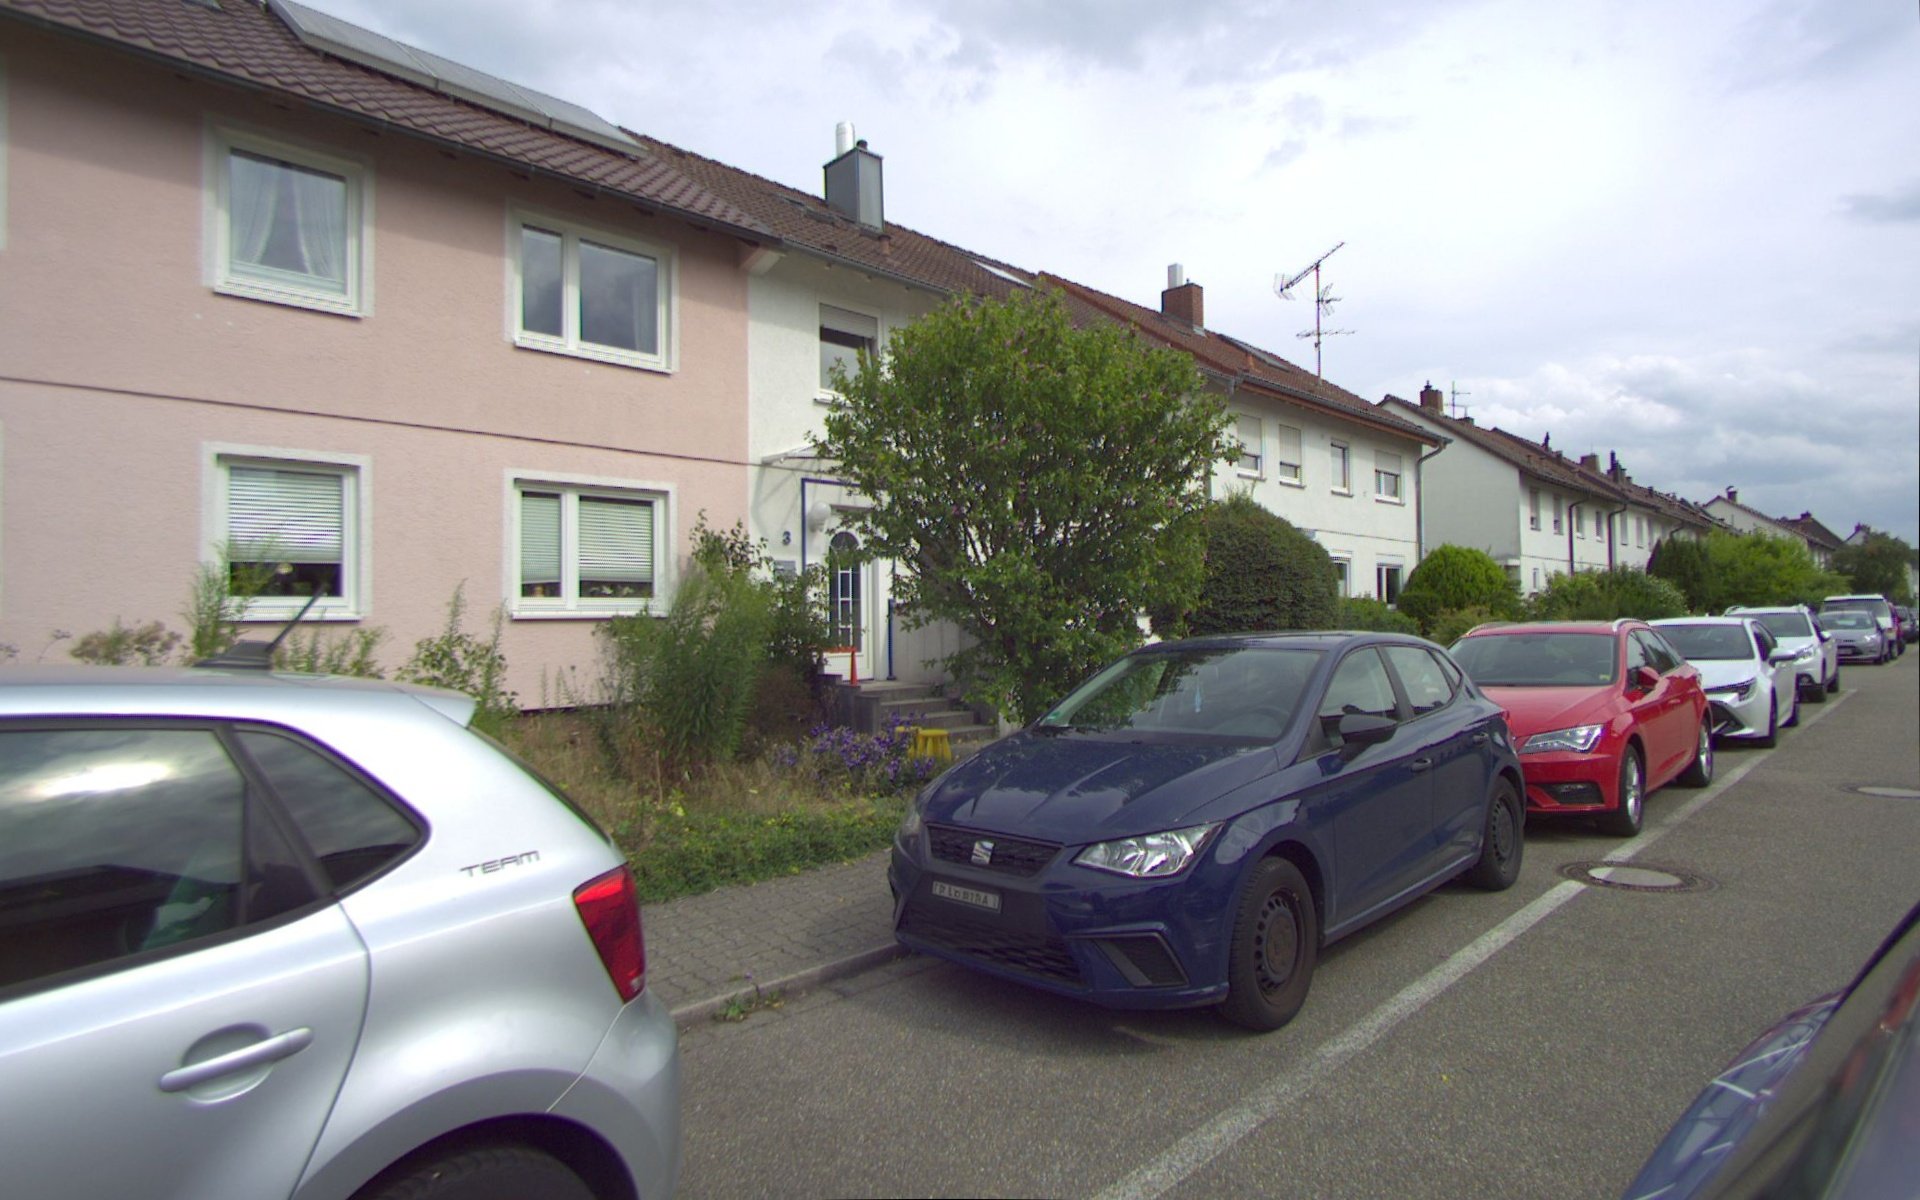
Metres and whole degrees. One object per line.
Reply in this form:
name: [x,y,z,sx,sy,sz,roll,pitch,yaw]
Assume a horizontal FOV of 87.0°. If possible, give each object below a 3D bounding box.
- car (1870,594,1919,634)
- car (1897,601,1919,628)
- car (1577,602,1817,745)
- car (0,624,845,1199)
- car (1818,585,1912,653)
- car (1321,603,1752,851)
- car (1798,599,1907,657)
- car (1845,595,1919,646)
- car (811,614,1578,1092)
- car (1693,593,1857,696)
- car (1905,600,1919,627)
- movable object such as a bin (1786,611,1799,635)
car: [41.532,0.608,44.660,1.867,1.675,4.393,-2,-1,44]
car: [51.634,0.755,54.450,1.732,1.446,4.061,-2,-1,43]
car: [9.202,0.750,12.470,1.837,1.431,4.564,-1,-1,43]
car: [-2.354,0.783,1.293,1.864,1.435,4.186,-2,-2,44]
car: [28.126,0.556,31.400,2.020,1.972,4.672,-1,-1,44]
car: [4.961,0.803,8.344,4.746,1.454,1.774,0,-3,-44]
car: [24.587,0.723,27.834,4.060,1.478,1.902,0,-1,-44]
car: [31.686,0.670,34.788,1.809,1.672,4.343,-1,-1,42]
car: [1.481,0.780,5.108,4.194,1.373,1.774,0,-1,-44]
car: [14.047,0.716,17.377,3.908,1.564,1.714,0,-3,-45]
car: [55.717,0.748,58.229,4.571,1.486,1.750,0,-1,-45]
movable object such as a bin: [36.961,1.011,44.941,0.402,1.047,0.780,-2,-2,37]
